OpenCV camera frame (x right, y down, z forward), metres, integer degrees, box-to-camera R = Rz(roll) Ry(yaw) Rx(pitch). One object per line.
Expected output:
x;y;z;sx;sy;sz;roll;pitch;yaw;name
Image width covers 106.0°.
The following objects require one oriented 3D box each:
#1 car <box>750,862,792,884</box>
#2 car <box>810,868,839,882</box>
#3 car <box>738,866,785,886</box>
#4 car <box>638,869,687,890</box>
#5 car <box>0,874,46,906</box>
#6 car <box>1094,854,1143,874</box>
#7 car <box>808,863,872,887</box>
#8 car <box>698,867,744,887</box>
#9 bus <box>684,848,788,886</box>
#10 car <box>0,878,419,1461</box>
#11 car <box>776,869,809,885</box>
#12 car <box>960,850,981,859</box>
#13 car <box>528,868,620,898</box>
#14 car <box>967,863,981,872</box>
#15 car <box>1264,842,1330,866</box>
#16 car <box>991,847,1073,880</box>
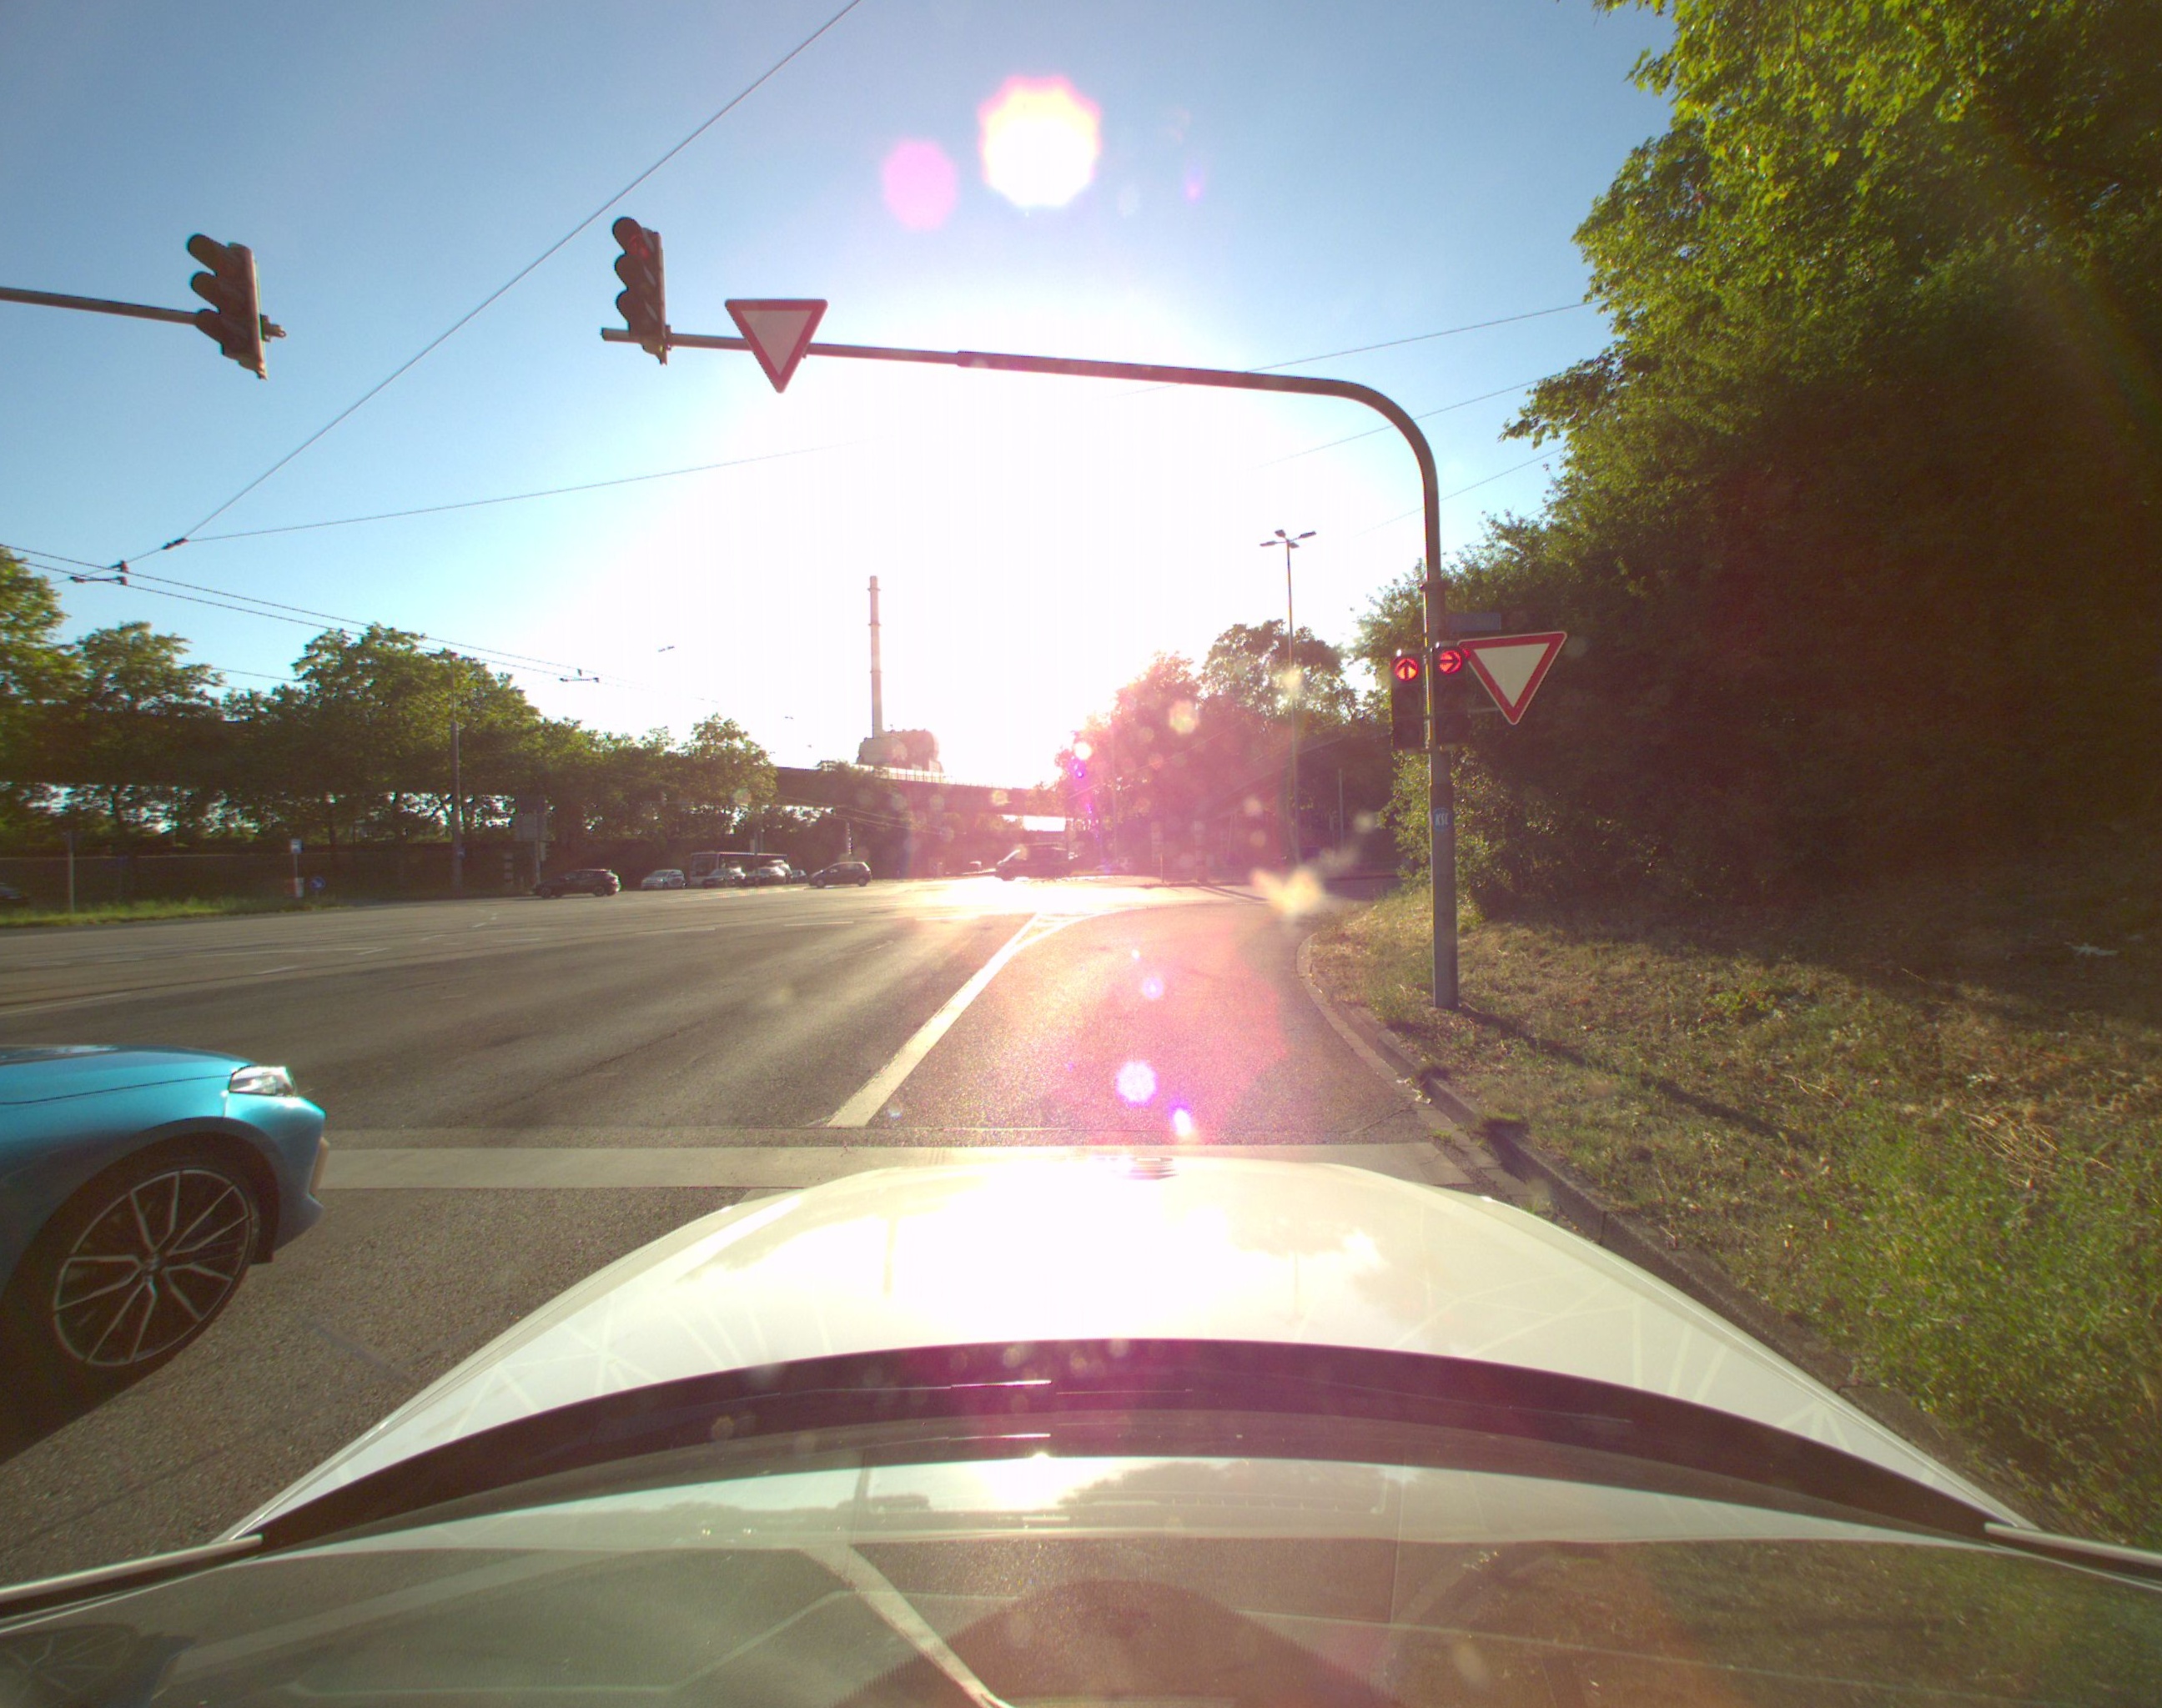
-25.716;1.554;67.668;1.704;1.652;4.097;-1;0;2;car
-27.767;2.253;88.137;1.693;1.442;4.002;-1;0;2;car
-23.522;1.582;60.120;1.704;1.354;4.097;-1;0;2;car
-30.098;1.821;58.710;1.599;1.354;3.734;-1;0;0;car
-52.208;1.723;38.059;4.521;1.454;1.993;-1;0;-11;car
3.390;0.917;73.375;4.165;1.652;1.727;-1;0;40;car
-14.873;1.279;50.340;3.729;1.422;1.687;-1;0;-16;car
-26.357;1.658;59.746;1.599;1.354;3.999;-1;0;0;car
-29.537;1.043;70.682;2.810;2.954;12.866;-1;0;4;bus
-3.574;0.813;1.051;1.779;1.417;4.511;-1;0;-1;car
-28.879;2.275;81.546;1.693;1.442;4.002;-1;0;2;car
-22.485;0.162;166.209;1.974;1.771;4.025;-1;-1;34;car
-26.603;1.498;42.864;3.730;1.422;1.687;-1;0;-17;car
-19.580;2.484;148.792;1.703;1.652;4.101;-1;0;5;car
14.916;0.018;56.255;3.936;1.558;1.986;-1;0;-20;car
-3.022;0.582;50.160;4.702;1.905;1.988;-1;0;-18;car
